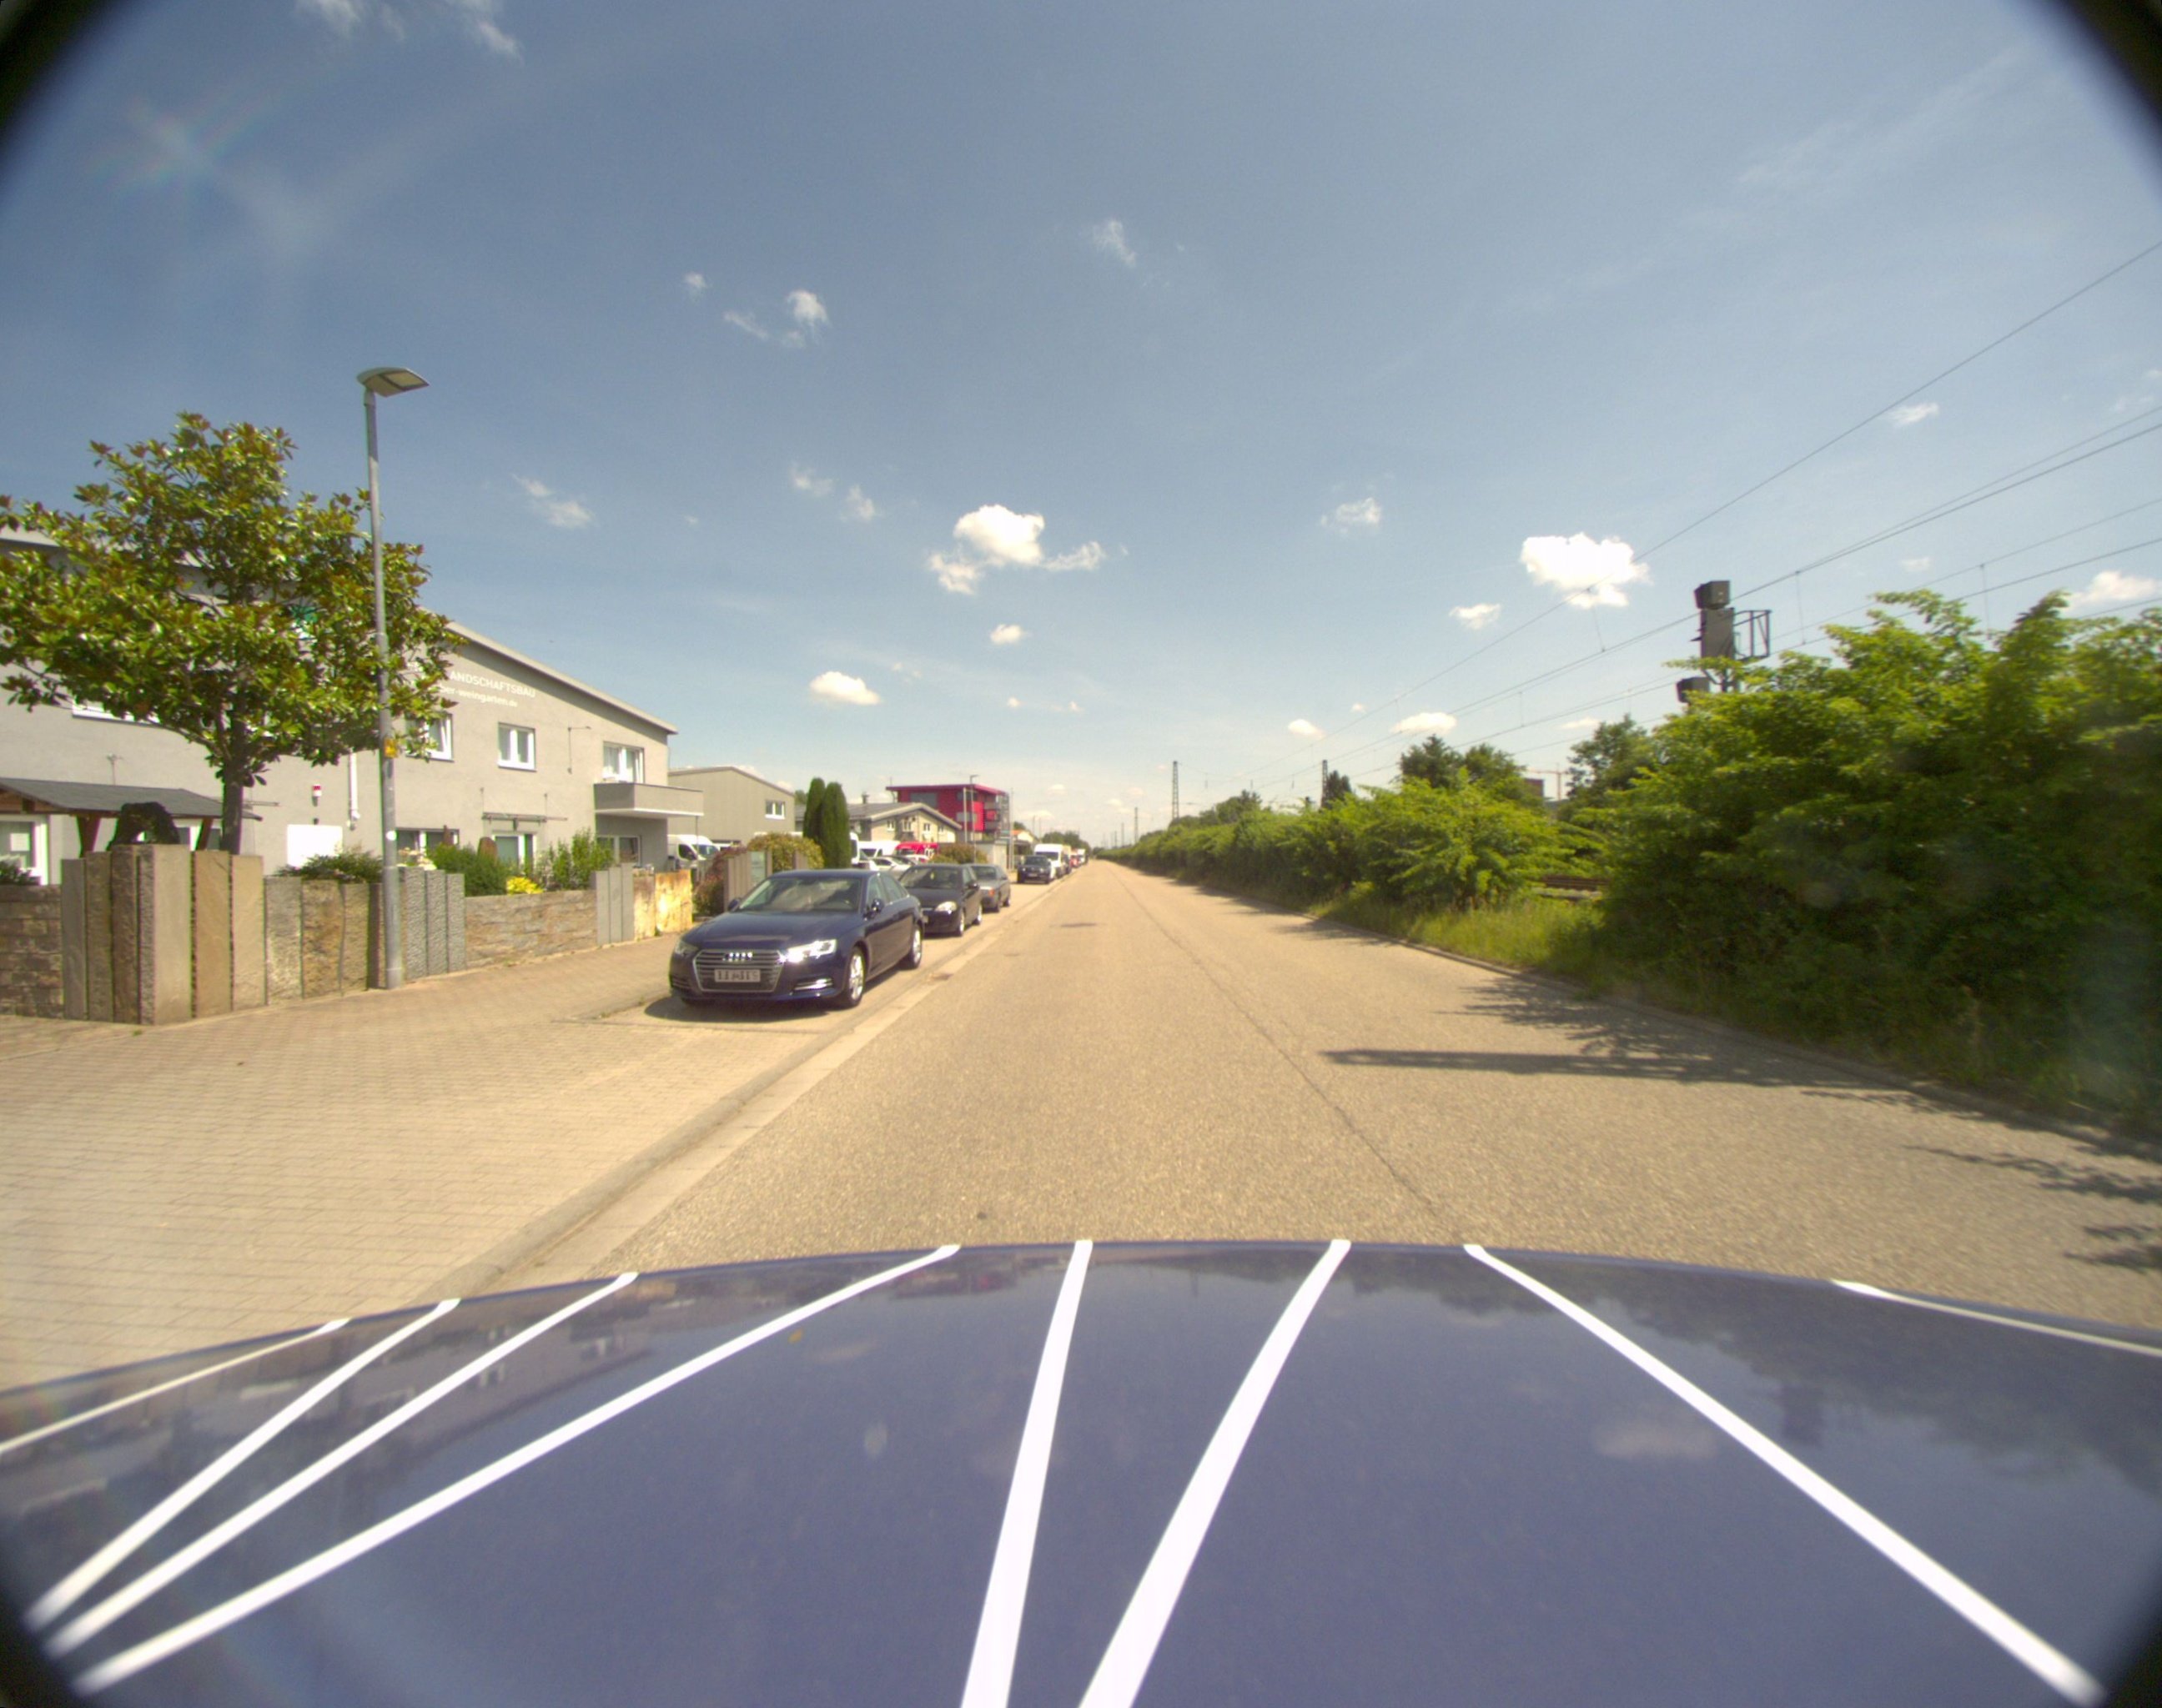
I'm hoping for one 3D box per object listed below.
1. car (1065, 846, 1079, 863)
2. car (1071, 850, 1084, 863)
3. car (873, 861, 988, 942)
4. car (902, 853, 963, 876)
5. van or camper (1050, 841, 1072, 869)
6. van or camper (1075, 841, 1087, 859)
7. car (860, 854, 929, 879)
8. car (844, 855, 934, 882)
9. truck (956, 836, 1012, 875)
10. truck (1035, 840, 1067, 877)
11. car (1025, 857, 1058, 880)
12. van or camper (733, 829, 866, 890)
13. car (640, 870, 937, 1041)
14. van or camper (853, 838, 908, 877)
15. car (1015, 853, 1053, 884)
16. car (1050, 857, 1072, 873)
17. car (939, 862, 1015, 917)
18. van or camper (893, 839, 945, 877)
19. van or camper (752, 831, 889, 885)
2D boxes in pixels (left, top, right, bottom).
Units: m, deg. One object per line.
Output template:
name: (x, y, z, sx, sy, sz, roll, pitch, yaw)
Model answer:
car: (-1.163, 0.018, 104.649, 1.742, 2.258, 4.020, -1, 1, 1)
car: (-0.630, 0.383, 127.612, 1.998, 2.002, 4.000, -2, 1, 1)
car: (-3.063, 0.913, 16.198, 1.618, 1.464, 3.876, 1, 0, 1)
car: (-9.918, 0.691, 50.784, 3.702, 1.478, 1.714, 0, 0, 2)
van or camper: (-2.028, 0.062, 79.139, 1.998, 2.854, 4.395, -1, 1, 1)
van or camper: (0.045, -0.800, 155.706, 2.333, 3.497, 4.770, -2, 1, 1)
car: (-11.261, 0.716, 45.924, 3.702, 1.478, 1.714, 0, 0, 2)
car: (-10.810, 0.803, 42.958, 4.605, 1.478, 1.714, 0, 0, 2)
truck: (-6.983, 0.111, 55.555, 2.381, 2.673, 5.788, 0, 0, 10)
truck: (-2.161, 0.313, 56.431, 1.998, 2.550, 5.290, 0, 0, 2)
car: (-2.546, 0.922, 49.734, 1.805, 1.410, 3.757, 1, 0, 1)
van or camper: (-12.073, 0.226, 32.668, 5.098, 2.519, 2.002, 0, 1, 15)
car: (-3.169, 0.987, 9.412, 1.766, 1.464, 4.718, 1, 0, 1)
van or camper: (-15.028, 0.245, 57.322, 2.095, 2.752, 4.901, 0, 0, 10)
car: (-2.649, 0.790, 43.745, 1.805, 1.692, 4.000, 1, 0, 1)
car: (-1.809, 0.987, 69.393, 1.805, 1.361, 3.756, -3, 0, 1)
car: (-3.034, 0.991, 22.891, 1.618, 1.415, 4.195, 1, 0, 1)
van or camper: (-11.975, 0.275, 56.529, 2.037, 2.752, 4.901, 0, 0, 10)
van or camper: (-12.248, 0.171, 35.875, 5.831, 2.423, 2.136, 0, 0, 12)
